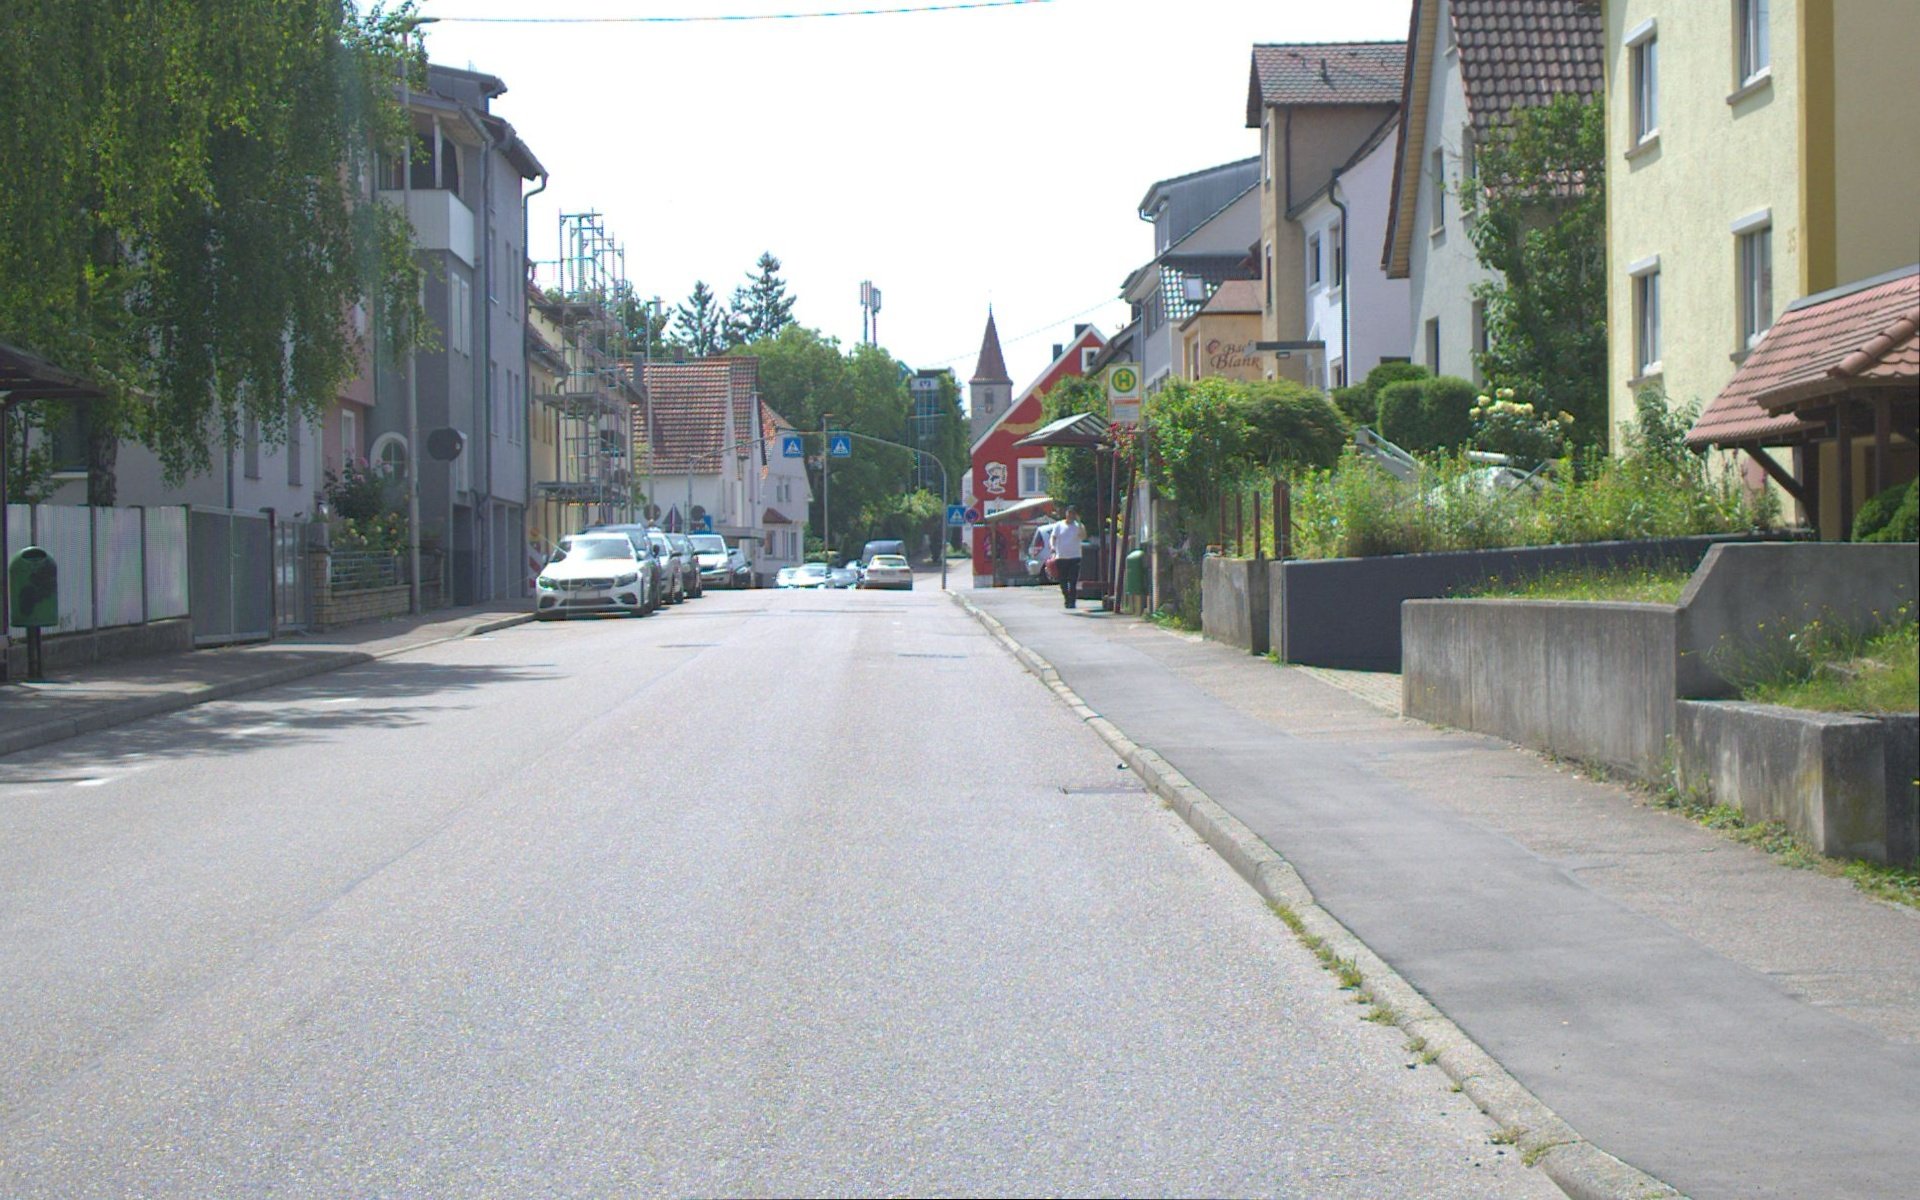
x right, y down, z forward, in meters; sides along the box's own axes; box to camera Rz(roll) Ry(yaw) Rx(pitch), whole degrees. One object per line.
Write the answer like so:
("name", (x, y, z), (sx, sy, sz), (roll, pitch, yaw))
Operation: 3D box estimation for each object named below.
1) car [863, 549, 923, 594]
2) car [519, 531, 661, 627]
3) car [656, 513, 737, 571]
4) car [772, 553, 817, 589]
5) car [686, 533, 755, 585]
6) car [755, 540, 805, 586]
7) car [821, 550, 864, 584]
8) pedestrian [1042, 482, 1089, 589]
("car", (-2.521, -1.083, 129.168), (1.993, 1.555, 4.315), (-1, 1, -4))
("car", (-6.446, -0.396, 60.314), (2.110, 1.555, 4.314), (-1, 1, -2))
("car", (-7.322, -1.641, 95.825), (1.993, 1.555, 4.314), (-1, 1, -2))
("car", (-7.149, -1.272, 148.405), (1.840, 1.459, 4.001), (-2, 2, -4))
("car", (-7.592, -1.329, 109.270), (1.993, 1.555, 4.314), (-1, 1, -2))
("car", (-8.225, -1.716, 157.548), (1.993, 2.007, 4.000), (-1, 1, 1))
("car", (-5.392, -1.513, 158.011), (1.840, 1.459, 4.000), (-2, 2, 0))
("pedestrian", (1.732, -1.059, 56.500), (0.646, 1.724, 0.608), (-3, 2, -1))
